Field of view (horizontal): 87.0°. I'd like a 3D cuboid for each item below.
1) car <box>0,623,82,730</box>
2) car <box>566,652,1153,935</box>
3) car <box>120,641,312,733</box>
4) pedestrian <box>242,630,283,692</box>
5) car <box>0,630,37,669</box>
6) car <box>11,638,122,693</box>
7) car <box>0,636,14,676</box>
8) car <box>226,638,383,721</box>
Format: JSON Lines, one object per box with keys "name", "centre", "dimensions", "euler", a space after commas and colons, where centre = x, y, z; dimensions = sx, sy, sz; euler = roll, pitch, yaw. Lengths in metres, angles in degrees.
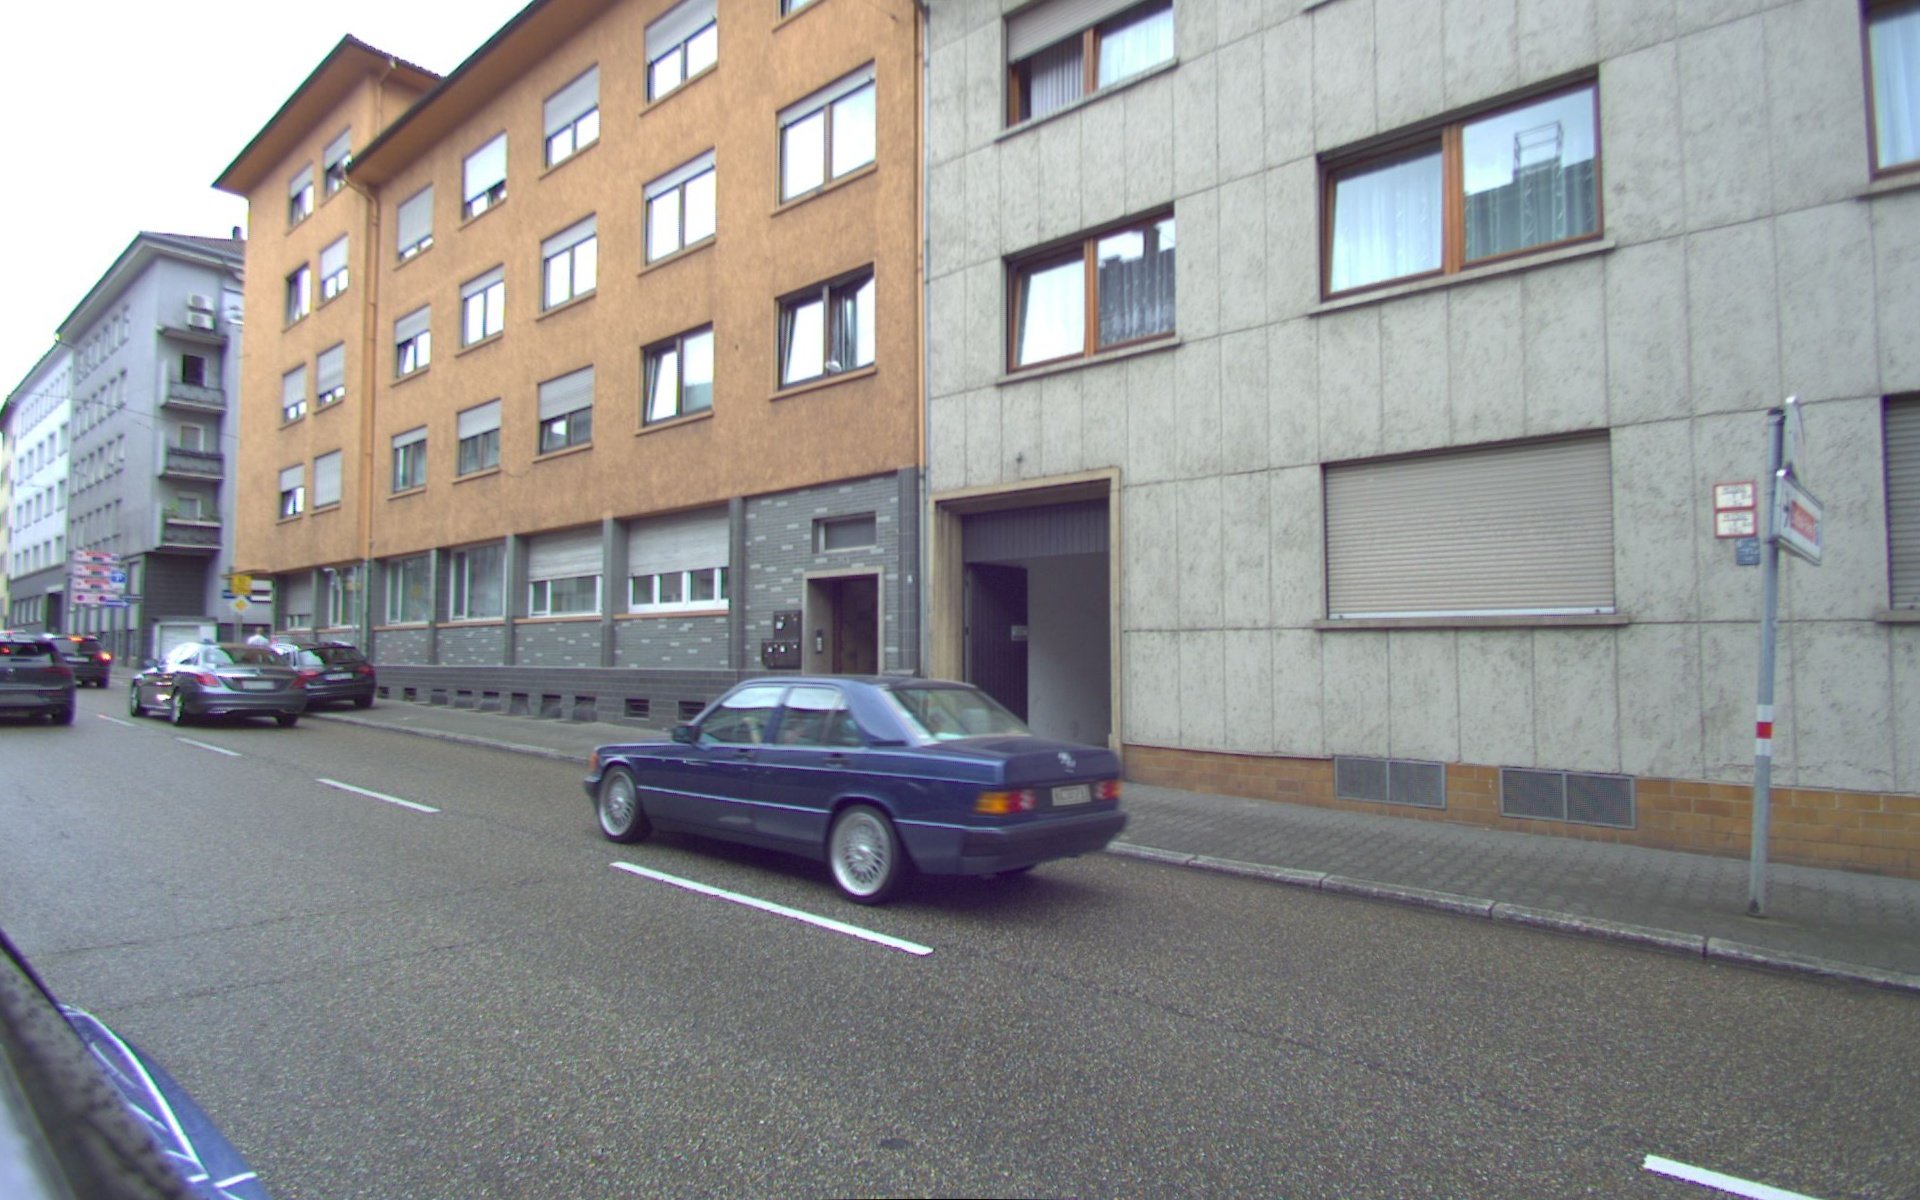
{"name": "car", "centre": [-16.145, 1.189, 16.770], "dimensions": [4.214, 1.592, 1.677], "euler": [0, -4, 40]}
{"name": "car", "centre": [-0.942, 1.143, 7.307], "dimensions": [4.359, 1.381, 1.582], "euler": [-1, -6, 40]}
{"name": "car", "centre": [-13.401, 1.508, 18.142], "dimensions": [4.362, 1.381, 1.678], "euler": [-1, -5, 40]}
{"name": "pedestrian", "centre": [-19.445, 1.693, 28.202], "dimensions": [0.757, 1.652, 1.024], "euler": [-1, 0, -44]}
{"name": "car", "centre": [-46.501, 2.374, 49.285], "dimensions": [4.216, 1.735, 1.832], "euler": [-1, 0, 41]}
{"name": "car", "centre": [-26.228, 1.902, 29.656], "dimensions": [4.370, 1.484, 1.705], "euler": [-2, -5, 40]}
{"name": "car", "centre": [-39.686, 2.158, 40.738], "dimensions": [4.433, 1.551, 1.677], "euler": [-1, -7, 40]}
{"name": "car", "centre": [-14.274, 1.640, 21.950], "dimensions": [4.216, 1.485, 1.776], "euler": [-1, 0, 41]}
